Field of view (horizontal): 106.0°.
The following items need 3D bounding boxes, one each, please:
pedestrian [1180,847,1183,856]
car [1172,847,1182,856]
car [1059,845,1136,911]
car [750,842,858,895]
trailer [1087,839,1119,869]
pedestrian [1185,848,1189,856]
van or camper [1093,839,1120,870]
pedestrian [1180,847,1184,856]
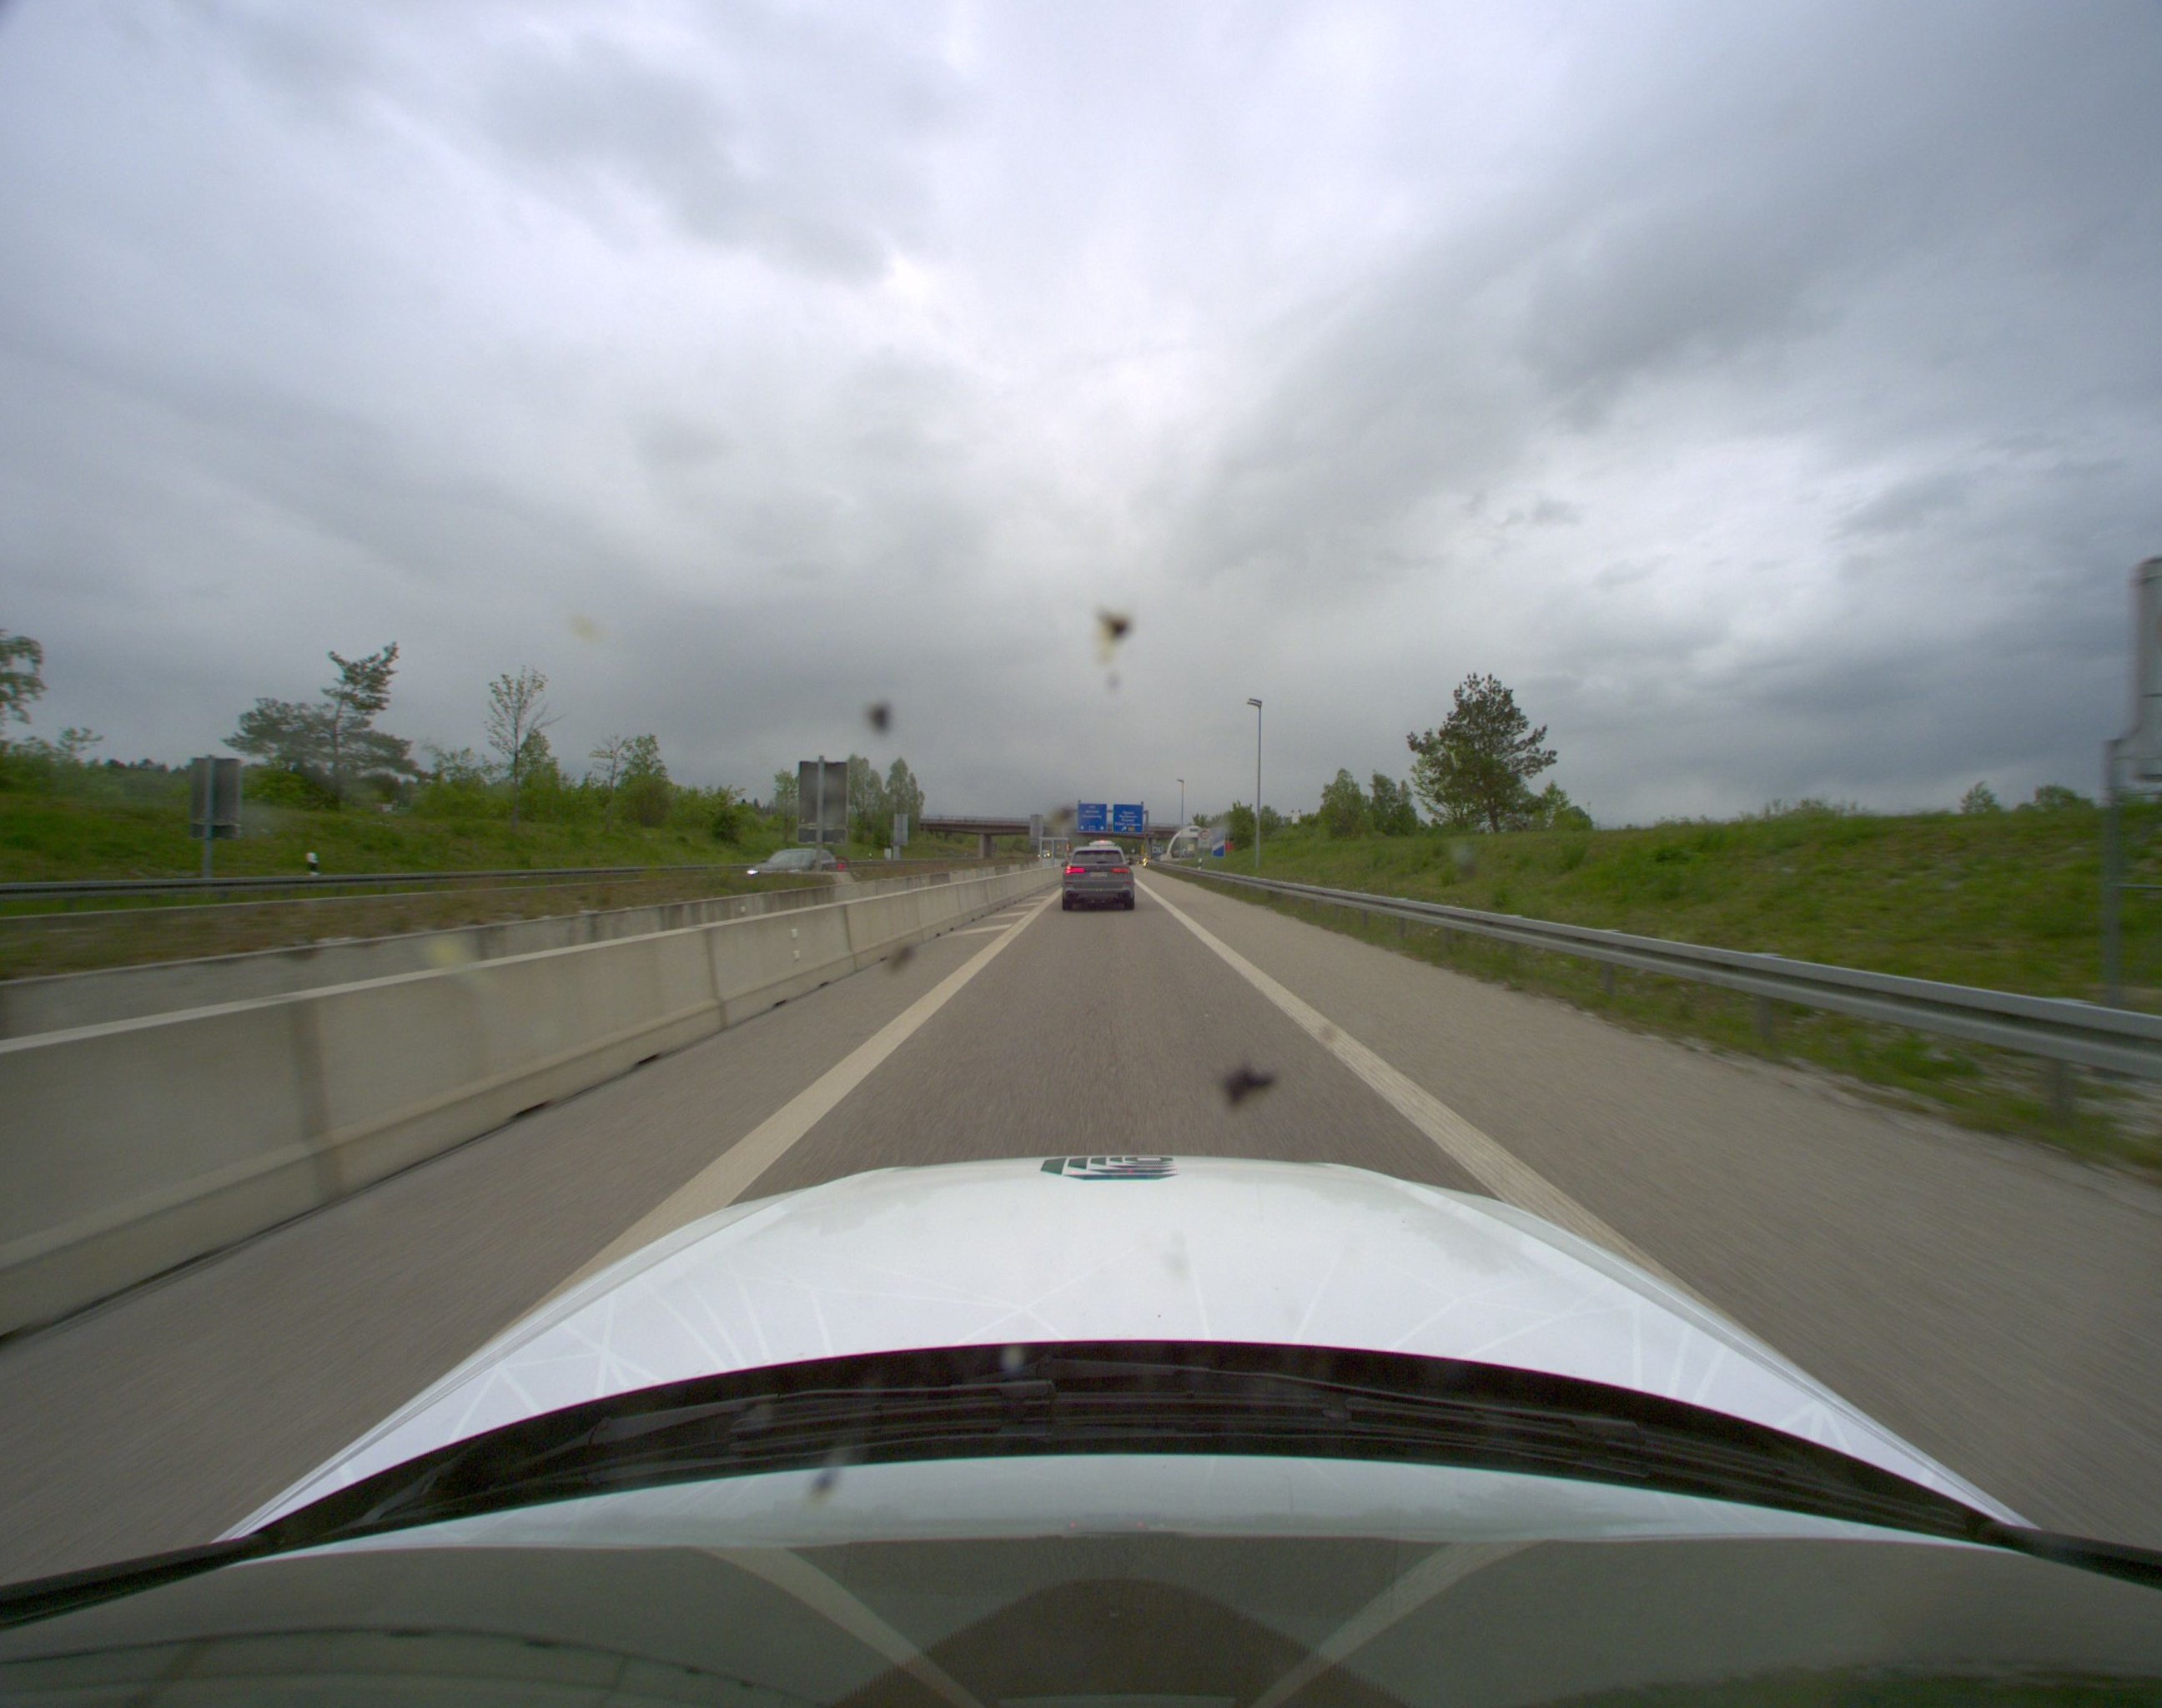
[{"bbox_3d":[22.384,-0.550,180.933,0.716,1.775,0.691,-1,0,6],"label":"pedestrian"},{"bbox_3d":[21.080,-0.532,178.752,1.984,1.772,3.771,-1,0,5],"label":"car"},{"bbox_3d":[0.496,0.621,23.246,1.986,1.719,4.002,0,0,2],"label":"car"},{"bbox_3d":[-10.016,0.486,30.046,1.871,1.736,5.753,0,0,1],"label":"car"},{"bbox_3d":[1.982,0.045,69.760,2.268,2.430,6.827,0,-1,5],"label":"trailer"},{"bbox_3d":[23.673,-0.544,181.932,0.645,1.775,0.606,-1,0,4],"label":"pedestrian"},{"bbox_3d":[2.469,0.101,76.085,2.146,2.763,5.879,0,-1,5],"label":"van or camper"},{"bbox_3d":[22.619,-0.611,182.022,0.716,1.945,0.691,-1,0,6],"label":"pedestrian"}]
